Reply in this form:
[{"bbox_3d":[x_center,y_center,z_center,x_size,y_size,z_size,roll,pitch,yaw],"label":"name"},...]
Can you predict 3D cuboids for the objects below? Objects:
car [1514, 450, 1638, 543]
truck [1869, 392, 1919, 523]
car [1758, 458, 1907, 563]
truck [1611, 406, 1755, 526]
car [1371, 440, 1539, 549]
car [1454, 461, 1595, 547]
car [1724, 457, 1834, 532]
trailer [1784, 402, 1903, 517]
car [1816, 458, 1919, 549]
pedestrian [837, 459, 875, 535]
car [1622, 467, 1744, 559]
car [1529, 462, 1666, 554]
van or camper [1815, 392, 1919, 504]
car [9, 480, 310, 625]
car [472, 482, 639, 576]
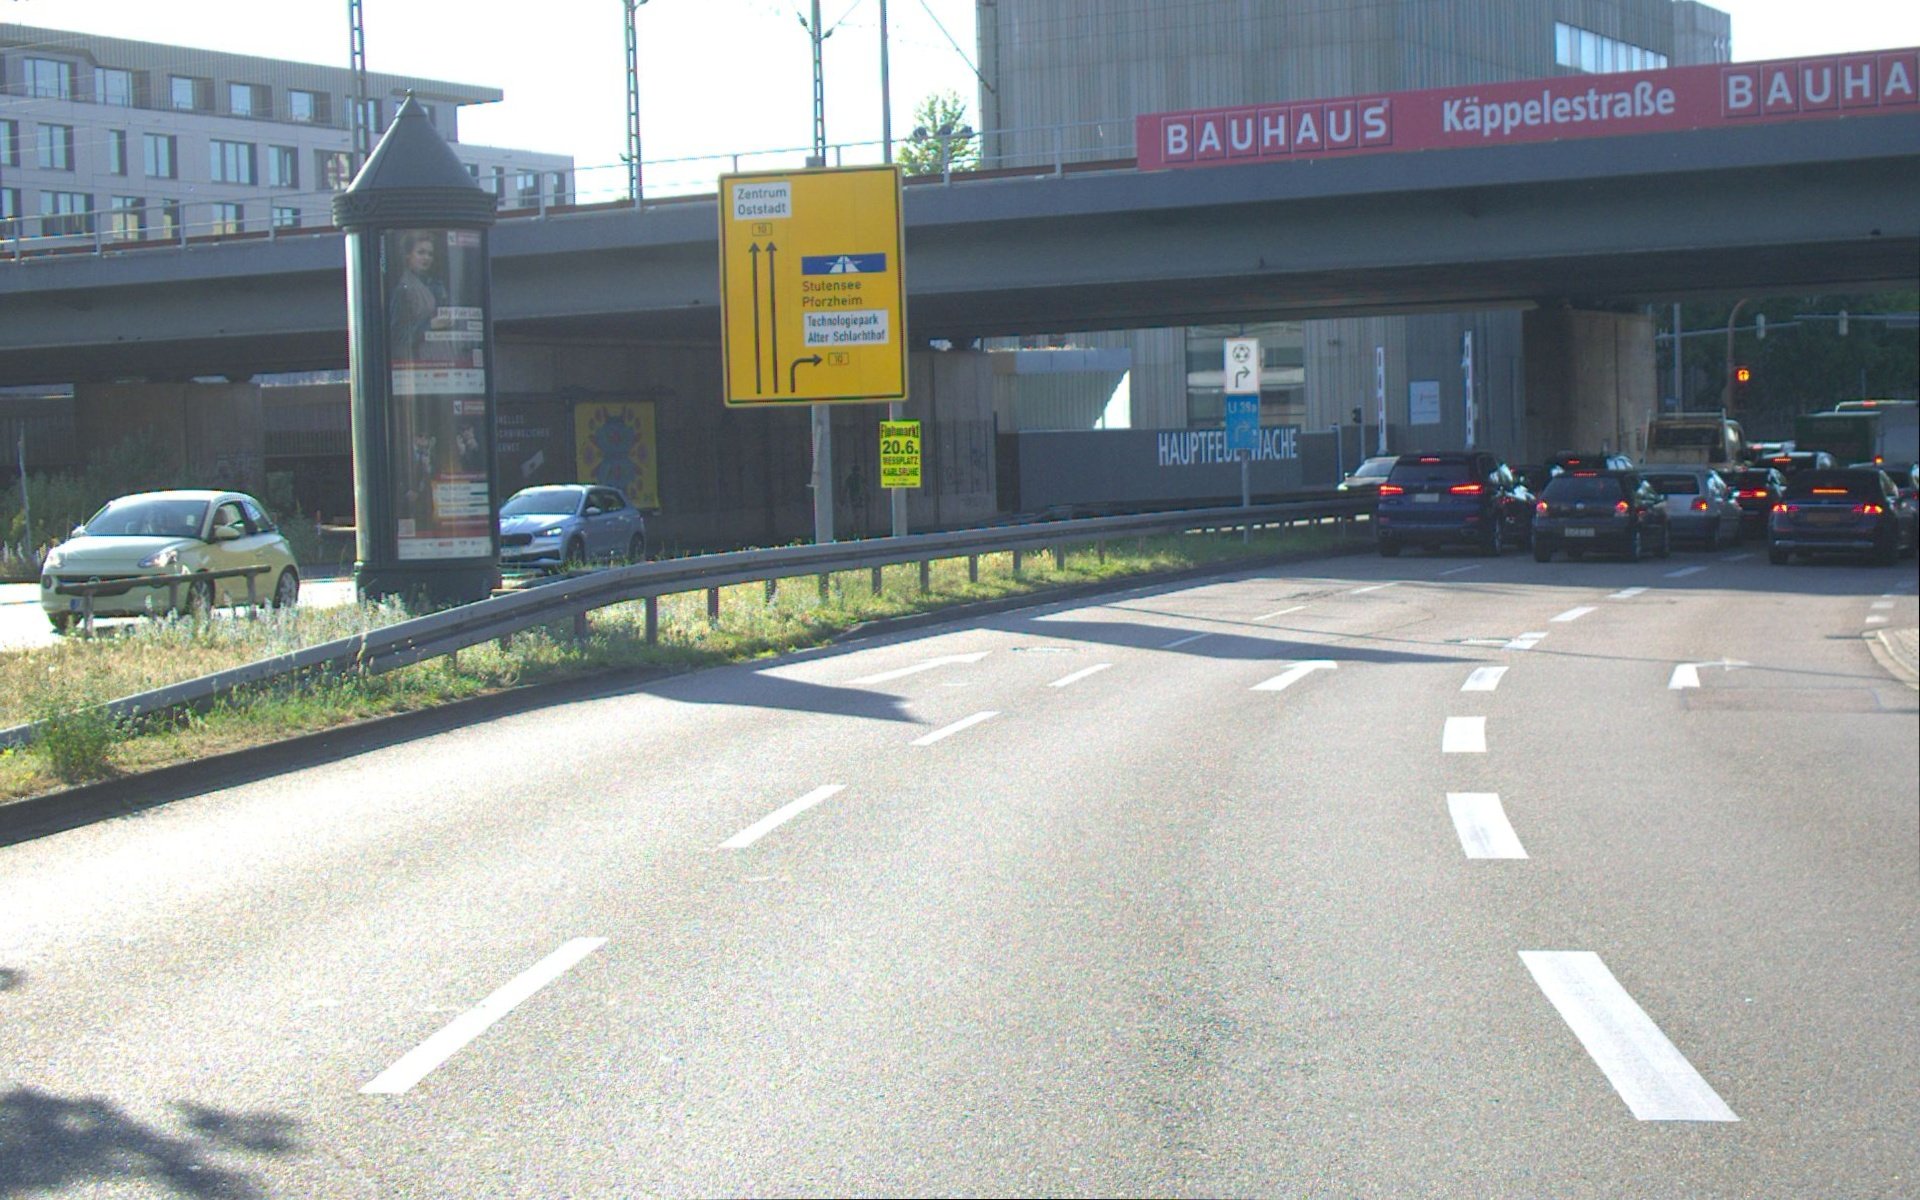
[{"bbox_3d":[12.513,-2.091,69.645,1.843,1.713,3.997,-3,1,18],"label":"car"},{"bbox_3d":[19.256,-2.799,67.648,2.114,2.511,4.396,1,2,22],"label":"truck"},{"bbox_3d":[13.591,-1.419,53.401,1.742,1.449,4.602,0,4,21],"label":"car"},{"bbox_3d":[16.116,-2.968,76.401,2.030,2.548,5.531,0,2,24],"label":"truck"},{"bbox_3d":[8.325,-1.760,57.543,1.831,1.732,4.457,0,2,21],"label":"car"},{"bbox_3d":[10.503,-1.787,63.807,1.843,1.435,3.672,-3,1,20],"label":"car"},{"bbox_3d":[16.989,-2.182,71.212,1.583,1.527,3.827,1,2,23],"label":"car"},{"bbox_3d":[19.811,-3.131,76.979,1.866,2.456,3.827,-1,1,25],"label":"trailer"},{"bbox_3d":[16.250,-1.698,60.381,1.774,1.490,3.828,-1,1,23],"label":"car"},{"bbox_3d":[-2.621,-2.596,86.662,0.695,1.897,0.664,0,2,25],"label":"pedestrian"},{"bbox_3d":[12.504,-1.514,59.355,1.548,1.418,3.414,-3,1,19],"label":"car"},{"bbox_3d":[10.158,-1.473,54.603,1.583,1.403,3.828,0,2,19],"label":"car"},{"bbox_3d":[22.126,-3.606,82.119,1.996,2.561,5.909,0,2,27],"label":"van or camper"},{"bbox_3d":[-8.642,-0.523,37.429,1.741,1.457,3.764,-1,1,12],"label":"car"},{"bbox_3d":[-6.523,-1.156,55.884,1.673,1.457,4.104,-1,1,8],"label":"car"}]
